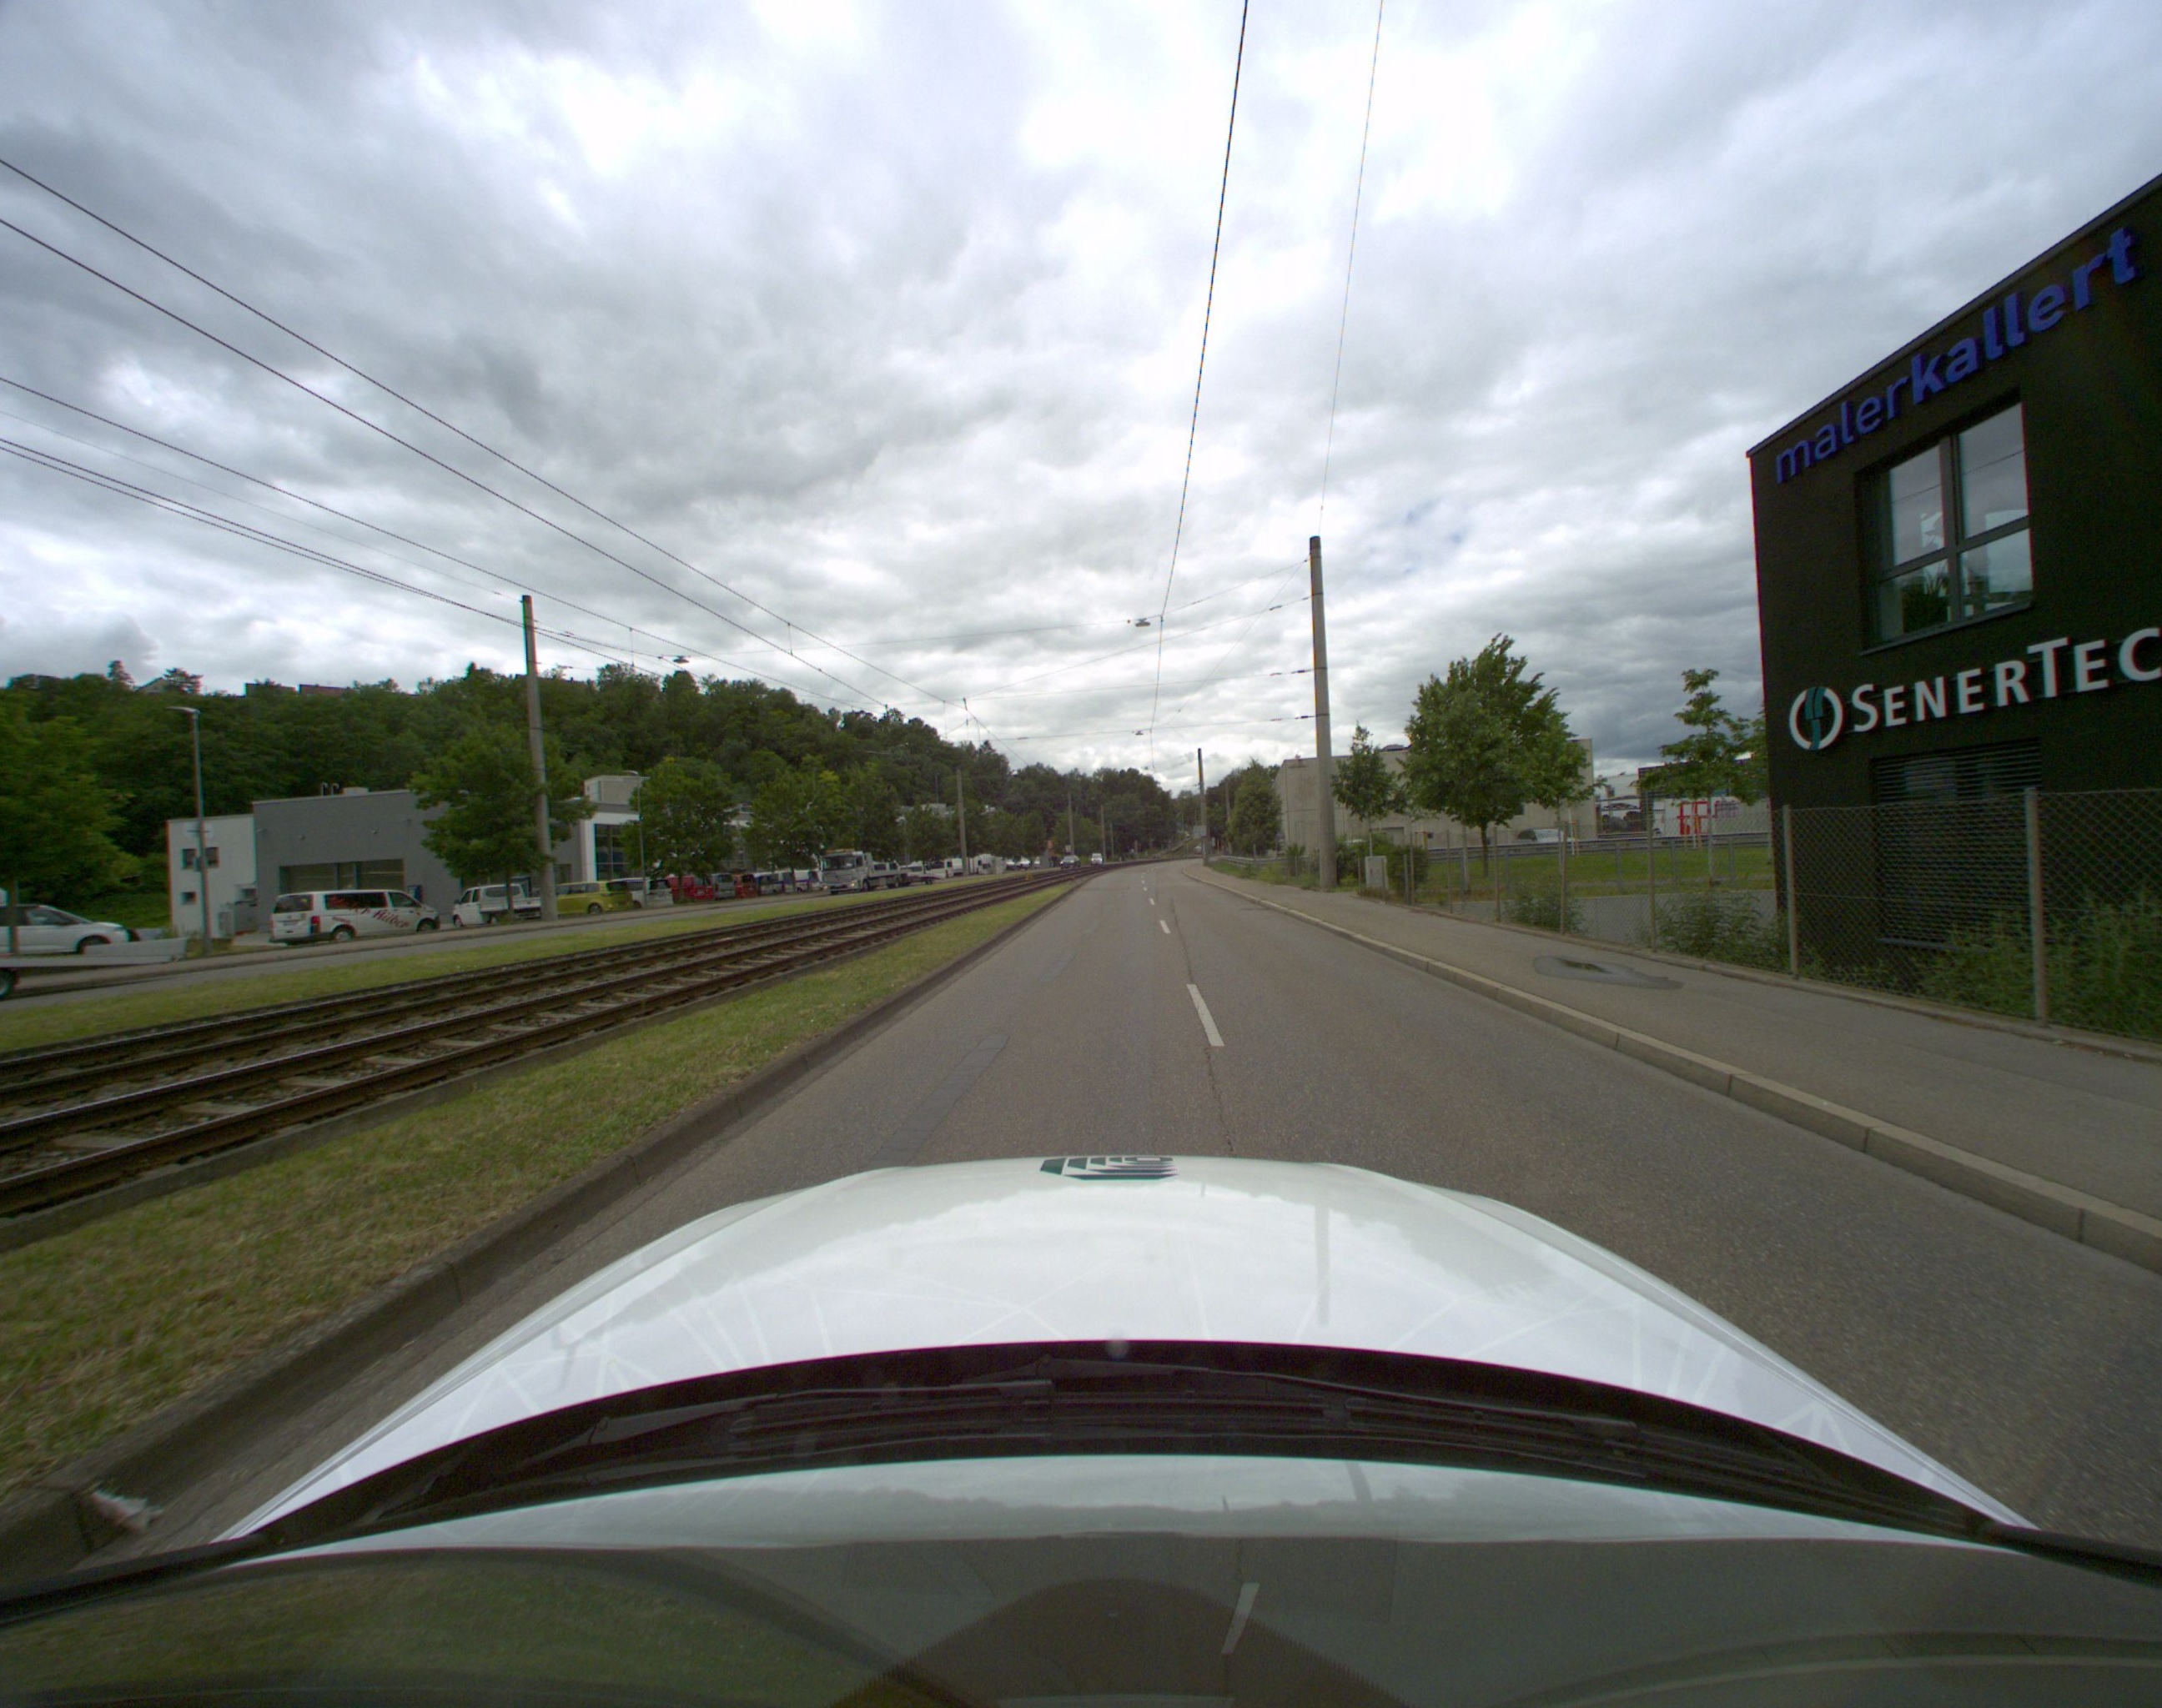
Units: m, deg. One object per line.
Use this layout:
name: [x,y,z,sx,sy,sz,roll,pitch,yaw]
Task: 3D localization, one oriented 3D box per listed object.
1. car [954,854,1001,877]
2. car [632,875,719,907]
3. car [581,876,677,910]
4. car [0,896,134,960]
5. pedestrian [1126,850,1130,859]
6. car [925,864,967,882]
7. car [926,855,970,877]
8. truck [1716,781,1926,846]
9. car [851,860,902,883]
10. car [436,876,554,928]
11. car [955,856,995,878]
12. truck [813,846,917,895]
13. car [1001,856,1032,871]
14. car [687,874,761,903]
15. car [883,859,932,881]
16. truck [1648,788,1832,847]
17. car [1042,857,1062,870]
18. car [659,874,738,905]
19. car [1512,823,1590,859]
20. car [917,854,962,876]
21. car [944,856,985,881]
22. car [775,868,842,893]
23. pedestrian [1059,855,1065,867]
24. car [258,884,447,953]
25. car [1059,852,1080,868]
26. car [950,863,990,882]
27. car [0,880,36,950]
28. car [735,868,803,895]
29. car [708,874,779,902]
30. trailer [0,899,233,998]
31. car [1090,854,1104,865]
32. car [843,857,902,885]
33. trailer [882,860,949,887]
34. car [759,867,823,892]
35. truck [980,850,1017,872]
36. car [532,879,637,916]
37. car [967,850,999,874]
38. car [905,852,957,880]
car: [-13.266,1.503,104.780,5.435,2.602,2.255,-3,0,13]
car: [-23.920,2.155,48.083,4.148,1.618,2.071,-3,0,14]
car: [-24.959,2.147,45.024,4.313,1.618,2.128,-3,0,14]
car: [-37.828,2.692,28.894,1.974,2.013,5.166,-3,-1,30]
pedestrian: [9.723,0.131,167.143,0.623,1.713,0.859,-1,0,16]
car: [-15.722,2.191,94.738,4.339,1.910,2.009,-3,0,9]
car: [-14.945,1.328,91.877,4.339,2.173,2.009,-3,0,9]
truck: [37.880,-1.997,41.993,7.691,3.037,2.633,0,-1,14]
car: [-25.484,2.174,101.550,5.947,2.602,1.993,-3,0,-17]
car: [-26.307,2.170,36.531,5.641,2.008,2.157,-4,0,31]
car: [-13.173,1.624,101.697,4.341,2.104,2.009,7,1,9]
truck: [-14.008,0.959,53.771,2.739,2.741,9.246,-5,-1,10]
car: [-10.107,1.473,126.646,4.670,2.013,2.013,-3,0,40]
car: [-23.183,2.256,52.961,3.958,1.618,2.008,-3,0,14]
car: [-17.677,1.605,82.927,4.339,2.010,2.009,-3,0,9]
truck: [36.752,-1.951,45.774,7.679,3.037,2.363,-1,-1,21]
car: [-4.806,1.535,136.091,1.980,2.013,5.146,-3,0,12]
car: [-23.699,2.182,50.490,3.958,1.664,2.056,-3,0,14]
car: [24.878,-0.654,43.296,1.901,1.720,4.699,-3,0,8]
car: [-15.491,1.161,89.551,4.339,2.173,2.009,-3,0,9]
car: [-13.826,1.724,96.956,4.339,2.819,2.009,-3,0,9]
car: [-20.840,2.023,62.355,4.334,1.618,2.012,-3,0,14]
pedestrian: [-2.810,1.015,119.827,0.714,1.655,1.044,-1,0,6]
car: [-26.064,2.243,29.414,1.982,2.013,4.872,-3,0,8]
car: [-1.402,0.767,101.563,1.983,1.739,4.543,-5,-1,7]
car: [-13.498,2.242,99.342,4.339,2.105,2.009,-3,0,9]
car: [-44.134,2.501,31.150,1.974,2.705,4.892,-3,-1,32]
car: [-22.040,1.945,57.545,3.958,1.618,2.008,-3,0,14]
car: [-22.897,2.311,55.290,3.958,1.618,2.008,-3,0,14]
trailer: [-19.911,1.849,13.873,2.743,1.495,7.240,-5,0,7]
car: [2.720,0.891,139.140,2.154,1.888,5.067,-1,0,-3]
car: [-18.634,1.504,72.842,4.464,2.311,2.133,-3,0,14]
trailer: [-12.381,1.441,61.726,2.367,1.698,6.969,-5,-1,11]
car: [-21.449,1.905,60.246,3.958,1.618,2.008,-3,0,14]
truck: [-12.651,1.067,125.124,5.863,3.085,2.133,-3,0,42]
car: [-25.532,2.219,41.939,4.305,1.618,2.163,-3,0,14]
car: [-13.185,1.072,110.318,2.092,3.019,5.961,-3,0,15]
car: [-15.992,1.241,86.841,4.936,2.698,2.121,-3,0,9]
